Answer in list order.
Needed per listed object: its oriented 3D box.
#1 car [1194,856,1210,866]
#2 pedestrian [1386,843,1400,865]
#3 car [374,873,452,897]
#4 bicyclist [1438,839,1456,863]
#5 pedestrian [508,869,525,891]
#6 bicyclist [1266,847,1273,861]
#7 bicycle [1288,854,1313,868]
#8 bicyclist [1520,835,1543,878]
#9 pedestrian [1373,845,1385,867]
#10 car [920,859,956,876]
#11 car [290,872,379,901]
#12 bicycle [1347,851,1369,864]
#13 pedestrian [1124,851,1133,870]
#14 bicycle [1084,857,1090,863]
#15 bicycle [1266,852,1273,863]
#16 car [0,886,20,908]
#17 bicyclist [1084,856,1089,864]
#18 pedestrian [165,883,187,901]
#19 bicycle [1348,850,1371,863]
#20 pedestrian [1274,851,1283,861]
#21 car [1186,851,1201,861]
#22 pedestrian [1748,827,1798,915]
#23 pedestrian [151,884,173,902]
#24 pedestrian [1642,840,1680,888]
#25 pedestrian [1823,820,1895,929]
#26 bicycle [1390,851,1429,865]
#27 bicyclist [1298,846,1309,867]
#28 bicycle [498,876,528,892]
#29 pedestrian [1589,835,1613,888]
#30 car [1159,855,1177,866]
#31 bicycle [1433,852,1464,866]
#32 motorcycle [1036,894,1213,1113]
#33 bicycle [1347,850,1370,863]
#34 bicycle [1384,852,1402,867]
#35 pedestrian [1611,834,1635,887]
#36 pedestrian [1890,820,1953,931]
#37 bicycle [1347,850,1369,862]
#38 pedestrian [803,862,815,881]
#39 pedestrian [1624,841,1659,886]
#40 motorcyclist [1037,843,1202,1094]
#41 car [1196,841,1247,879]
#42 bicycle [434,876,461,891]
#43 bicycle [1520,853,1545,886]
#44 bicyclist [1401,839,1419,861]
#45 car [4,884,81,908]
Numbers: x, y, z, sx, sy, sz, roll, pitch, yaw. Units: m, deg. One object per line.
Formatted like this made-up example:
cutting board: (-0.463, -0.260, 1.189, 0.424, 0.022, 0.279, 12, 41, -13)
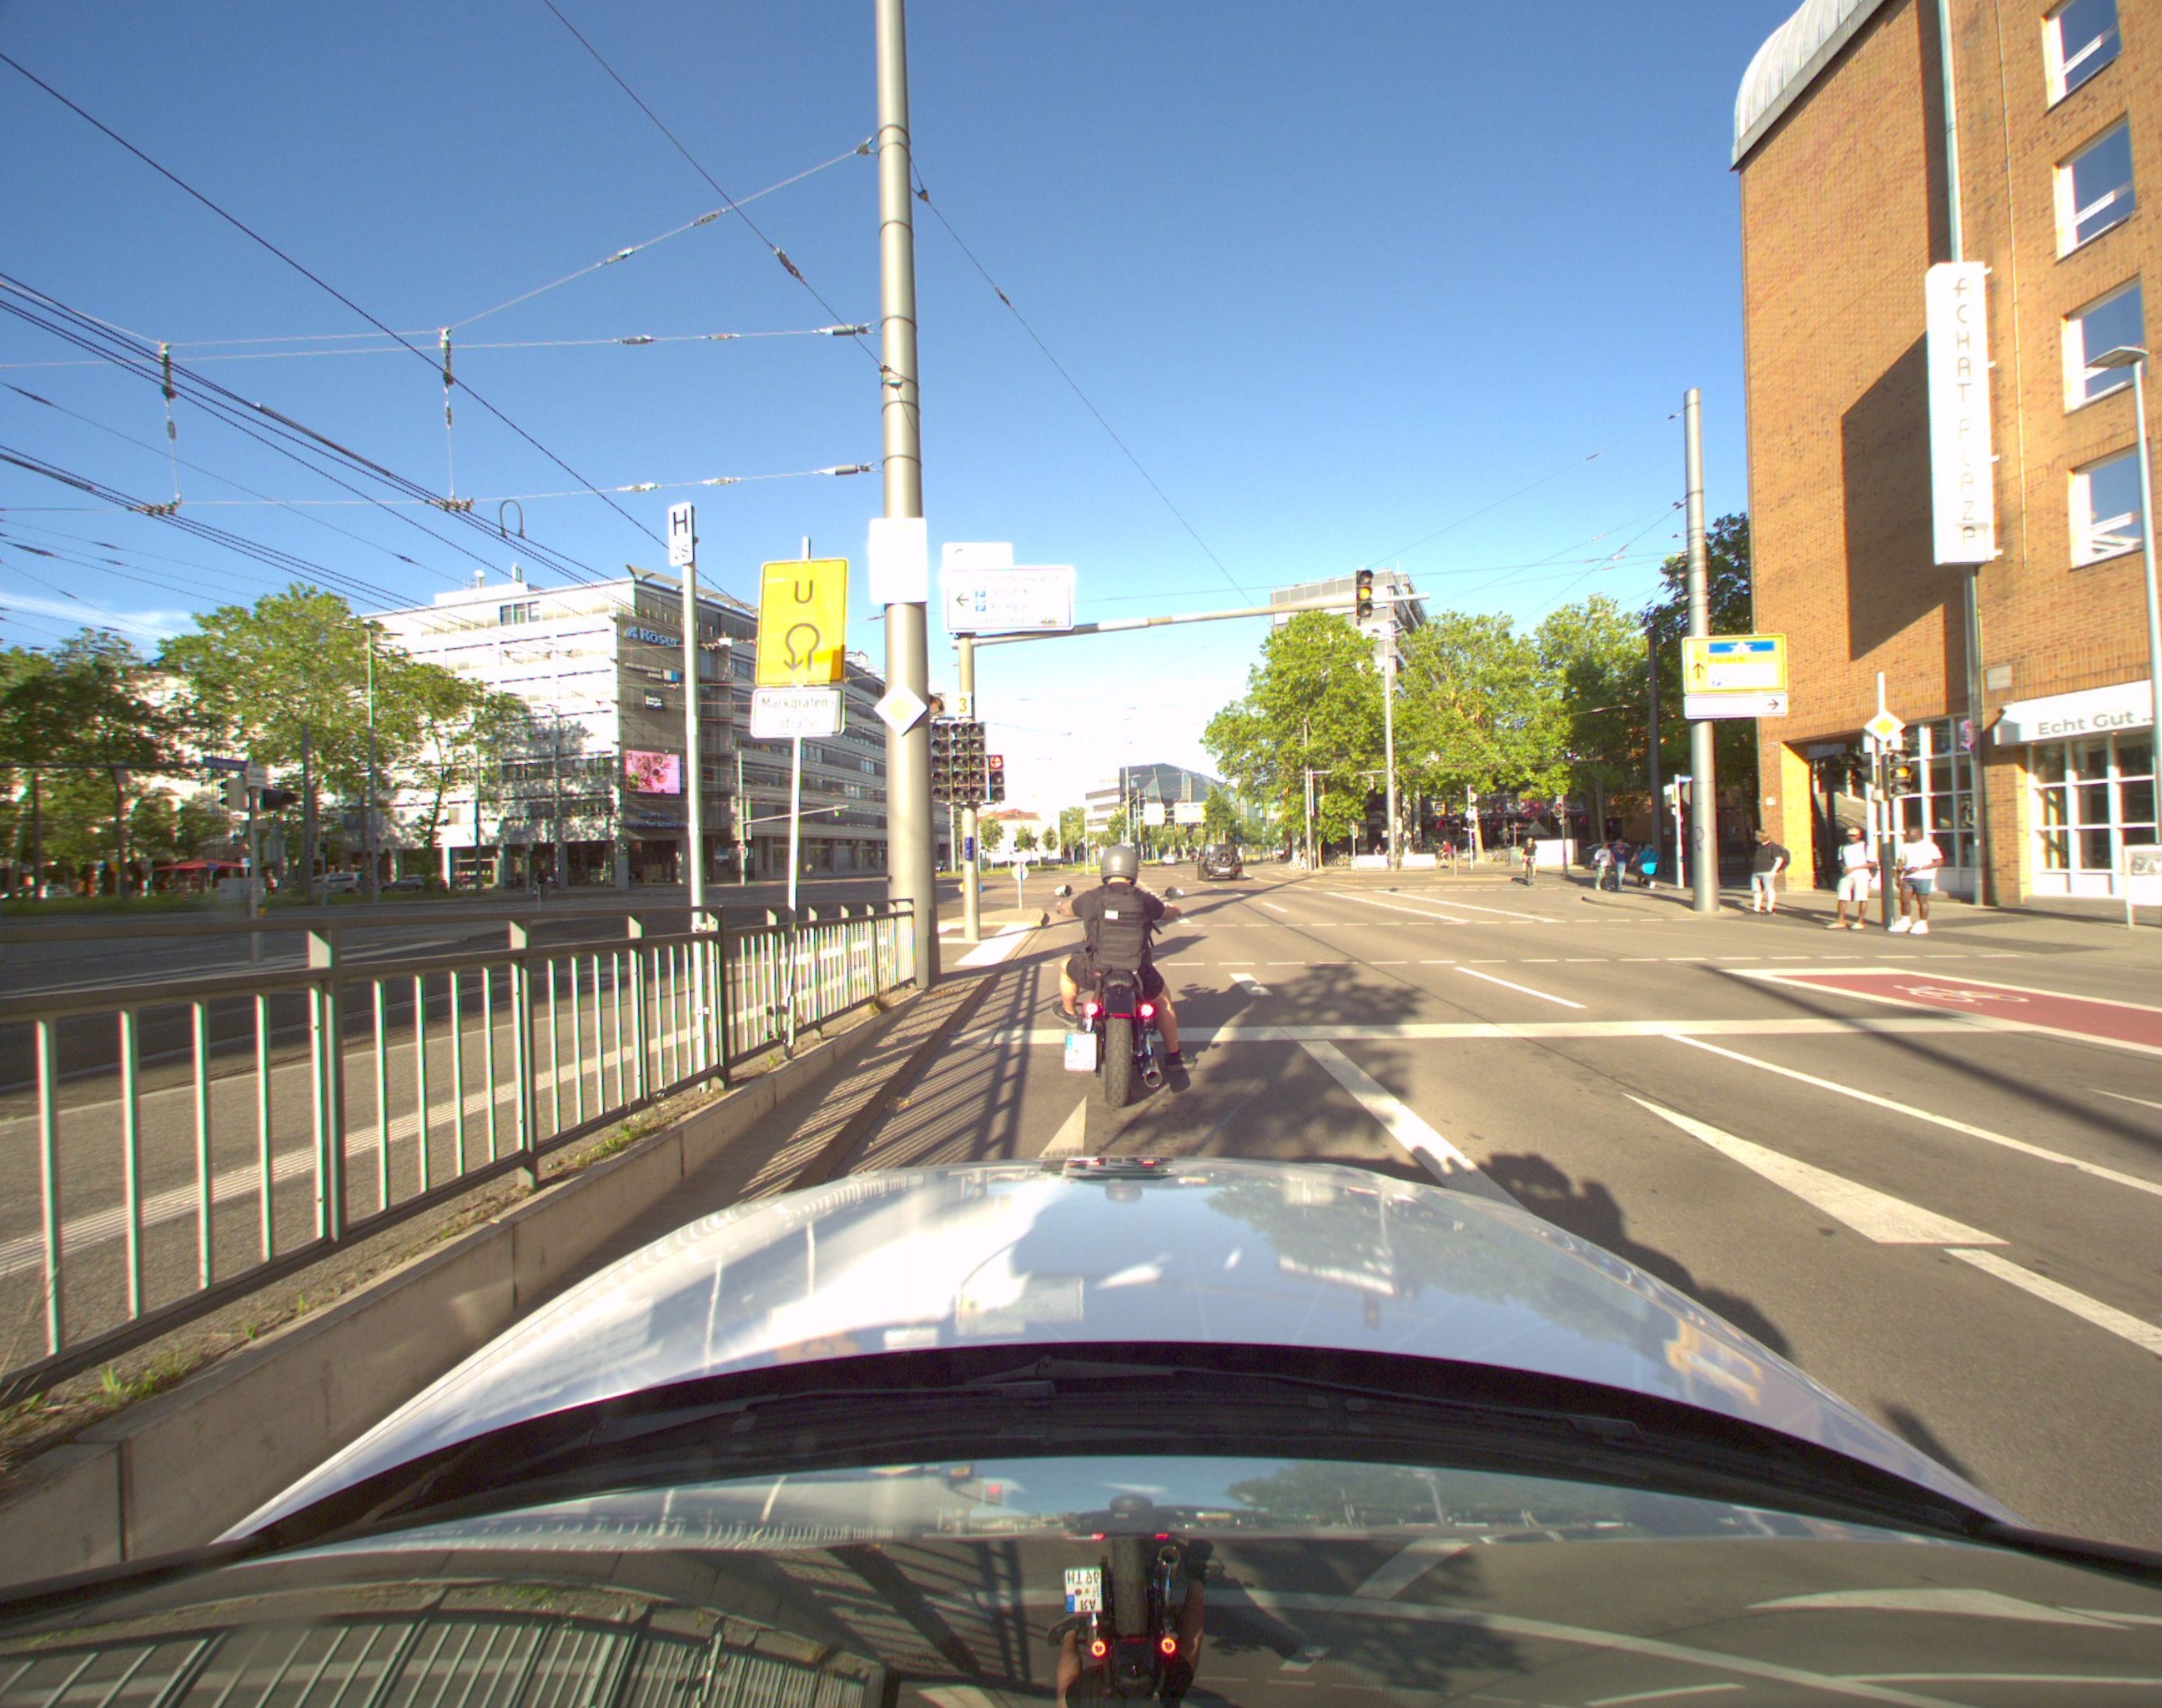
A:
car: (17.251, 1.006, 116.059, 1.828, 1.464, 4.015, -1, -1, 14)
pedestrian: (22.378, 0.012, 58.420, 0.762, 1.594, 0.843, -1, -1, 30)
car: (-50.396, 2.341, 61.476, 4.378, 1.572, 1.869, -2, 2, 6)
bicyclist: (25.223, -0.210, 56.164, 0.921, 1.615, 0.638, -2, 0, 5)
pedestrian: (-43.212, 2.008, 62.370, 0.831, 1.610, 0.607, 0, 3, 5)
bicyclist: (25.840, 0.013, 111.587, 0.854, 1.841, 1.262, -2, 0, 16)
bicycle: (17.515, 0.573, 65.014, 1.840, 1.021, 0.518, -2, -1, 13)
bicyclist: (16.854, 0.093, 30.435, 0.573, 1.515, 0.856, -5, 1, 33)
pedestrian: (25.024, 0.167, 68.454, 0.840, 1.852, 0.813, 1, 0, 16)
car: (-13.844, 1.312, 79.186, 1.778, 1.465, 4.328, -2, 0, 14)
car: (-56.187, 2.448, 61.356, 4.888, 1.843, 1.930, -2, 2, 3)
bicycle: (22.760, 0.262, 66.926, 1.692, 0.986, 0.392, -2, 0, 15)
pedestrian: (4.060, 0.569, 69.335, 0.654, 1.582, 0.490, -1, 0, 5)
bicycle: (1.187, 1.220, 167.623, 0.637, 1.107, 1.693, -1, 0, 20)
bicycle: (25.831, 0.438, 111.489, 0.854, 1.481, 2.587, -2, 0, 16)
car: (-85.488, 3.405, 63.087, 4.056, 1.629, 1.995, -2, 1, 2)
bicyclist: (1.173, 1.283, 167.621, 0.757, 1.667, 0.999, -1, 0, 20)
pedestrian: (-80.598, 3.422, 72.528, 0.986, 1.546, 0.874, -2, -1, 6)
bicycle: (22.309, 0.179, 65.180, 1.692, 0.986, 0.392, -2, 0, 15)
pedestrian: (21.940, 0.214, 90.334, 0.777, 1.057, 0.819, -2, 0, 24)
car: (18.148, 0.270, 130.977, 1.759, 1.514, 3.750, -2, 0, 18)
pedestrian: (14.310, 0.343, 16.839, 0.577, 1.767, 0.687, -1, 1, -39)
pedestrian: (-81.918, 3.432, 72.612, 0.985, 1.546, 0.875, -2, -1, 9)
pedestrian: (19.067, 0.320, 26.779, 0.674, 1.539, 0.741, 0, -1, -6)
pedestrian: (13.596, 0.355, 14.243, 0.500, 1.833, 0.725, -3, -1, -33)
bicycle: (29.014, 0.341, 71.994, 3.026, 1.113, 0.836, -1, 0, 5)
bicyclist: (17.726, 0.199, 64.978, 0.737, 1.694, 0.572, -2, -1, 13)
bicycle: (-43.241, 2.258, 62.051, 1.834, 1.163, 0.613, -1, 3, 3)
pedestrian: (17.214, 0.247, 26.943, 0.556, 1.704, 0.663, -1, -1, 41)
car: (11.767, 0.860, 109.981, 1.887, 1.508, 4.016, -1, -1, 15)
bicycle: (25.326, 0.314, 56.144, 1.844, 0.910, 0.653, -2, 0, 6)
motorcycle: (0.285, 0.913, 5.821, 1.002, 1.125, 2.324, 0, 0, 2)
bicycle: (22.504, 0.216, 66.022, 1.692, 0.986, 0.392, -2, 0, 15)
bicycle: (22.393, 0.383, 58.428, 0.782, 1.052, 1.935, -1, -1, 32)
pedestrian: (17.788, 0.222, 26.727, 0.596, 1.727, 0.606, -1, -1, 39)
pedestrian: (13.818, 0.352, 13.396, 0.407, 1.774, 0.573, -3, -1, -33)
bicycle: (22.900, 0.171, 67.385, 1.692, 0.986, 0.392, -2, 0, 15)
pedestrian: (-27.120, 1.773, 81.299, 0.670, 1.823, 0.888, -3, -1, 12)
pedestrian: (19.249, 0.328, 27.957, 0.649, 1.539, 0.741, 0, -1, -6)
motorcyclist: (0.259, 0.713, 5.702, 1.018, 1.552, 1.287, 0, 0, 1)
car: (7.252, 0.324, 42.535, 2.045, 1.874, 4.228, 0, -1, 1)
bicycle: (-51.230, 2.372, 65.860, 0.466, 1.151, 1.844, -1, 1, 9)
bicycle: (16.795, 0.549, 30.275, 0.595, 1.050, 1.894, -6, 0, 32)
bicyclist: (29.084, -0.379, 71.984, 1.220, 1.931, 0.836, -1, 0, 5)
car: (-79.769, 3.210, 62.582, 3.835, 1.638, 1.869, -2, 0, 6)
